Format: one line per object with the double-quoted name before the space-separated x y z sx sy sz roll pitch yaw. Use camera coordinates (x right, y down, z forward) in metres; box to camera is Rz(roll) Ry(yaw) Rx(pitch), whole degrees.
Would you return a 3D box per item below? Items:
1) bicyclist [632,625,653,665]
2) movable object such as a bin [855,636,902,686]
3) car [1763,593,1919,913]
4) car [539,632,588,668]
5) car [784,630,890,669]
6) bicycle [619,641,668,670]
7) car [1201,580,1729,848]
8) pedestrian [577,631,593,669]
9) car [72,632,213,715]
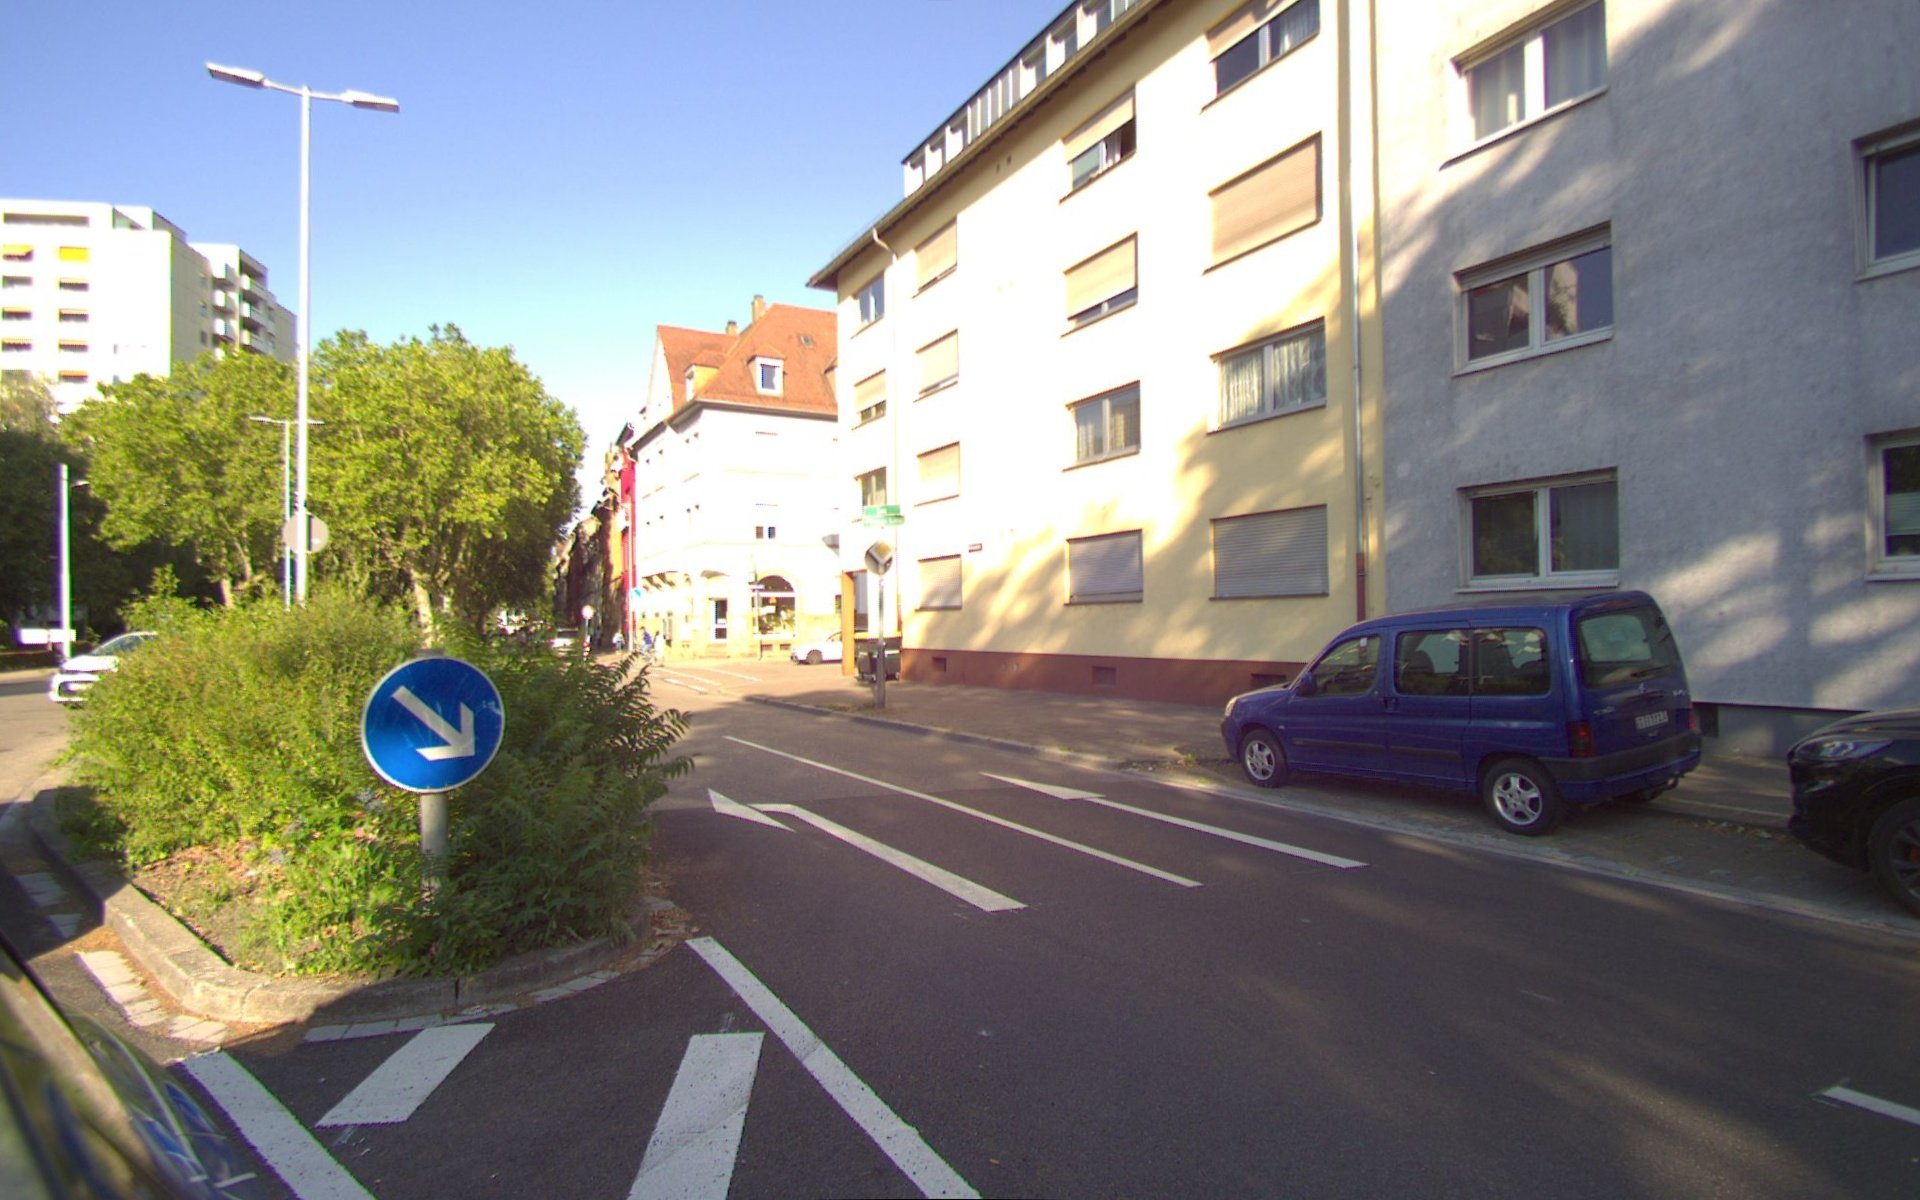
"bicyclist" -12.658 1.774 40.317 0.738 1.565 0.632 0 -2 -20
"movable object such as a bin" -2.206 1.627 27.238 1.017 1.296 1.065 0 -2 -18
"car" 6.669 0.759 4.431 1.879 1.685 4.507 -2 -1 -26
"car" -20.543 2.560 52.364 1.867 1.806 4.012 0 -2 -28
"car" -5.199 2.072 42.782 4.133 1.523 1.806 0 -2 -19
"bicycle" -12.621 2.197 40.315 1.837 1.098 0.629 0 -2 -21
"car" 4.232 0.845 9.206 1.641 1.832 4.017 -2 -1 -28
"pedestrian" -17.746 2.359 47.895 0.662 1.725 0.715 0 -2 -20
"car" -16.063 1.381 20.062 1.627 1.465 3.545 0 -2 -30
